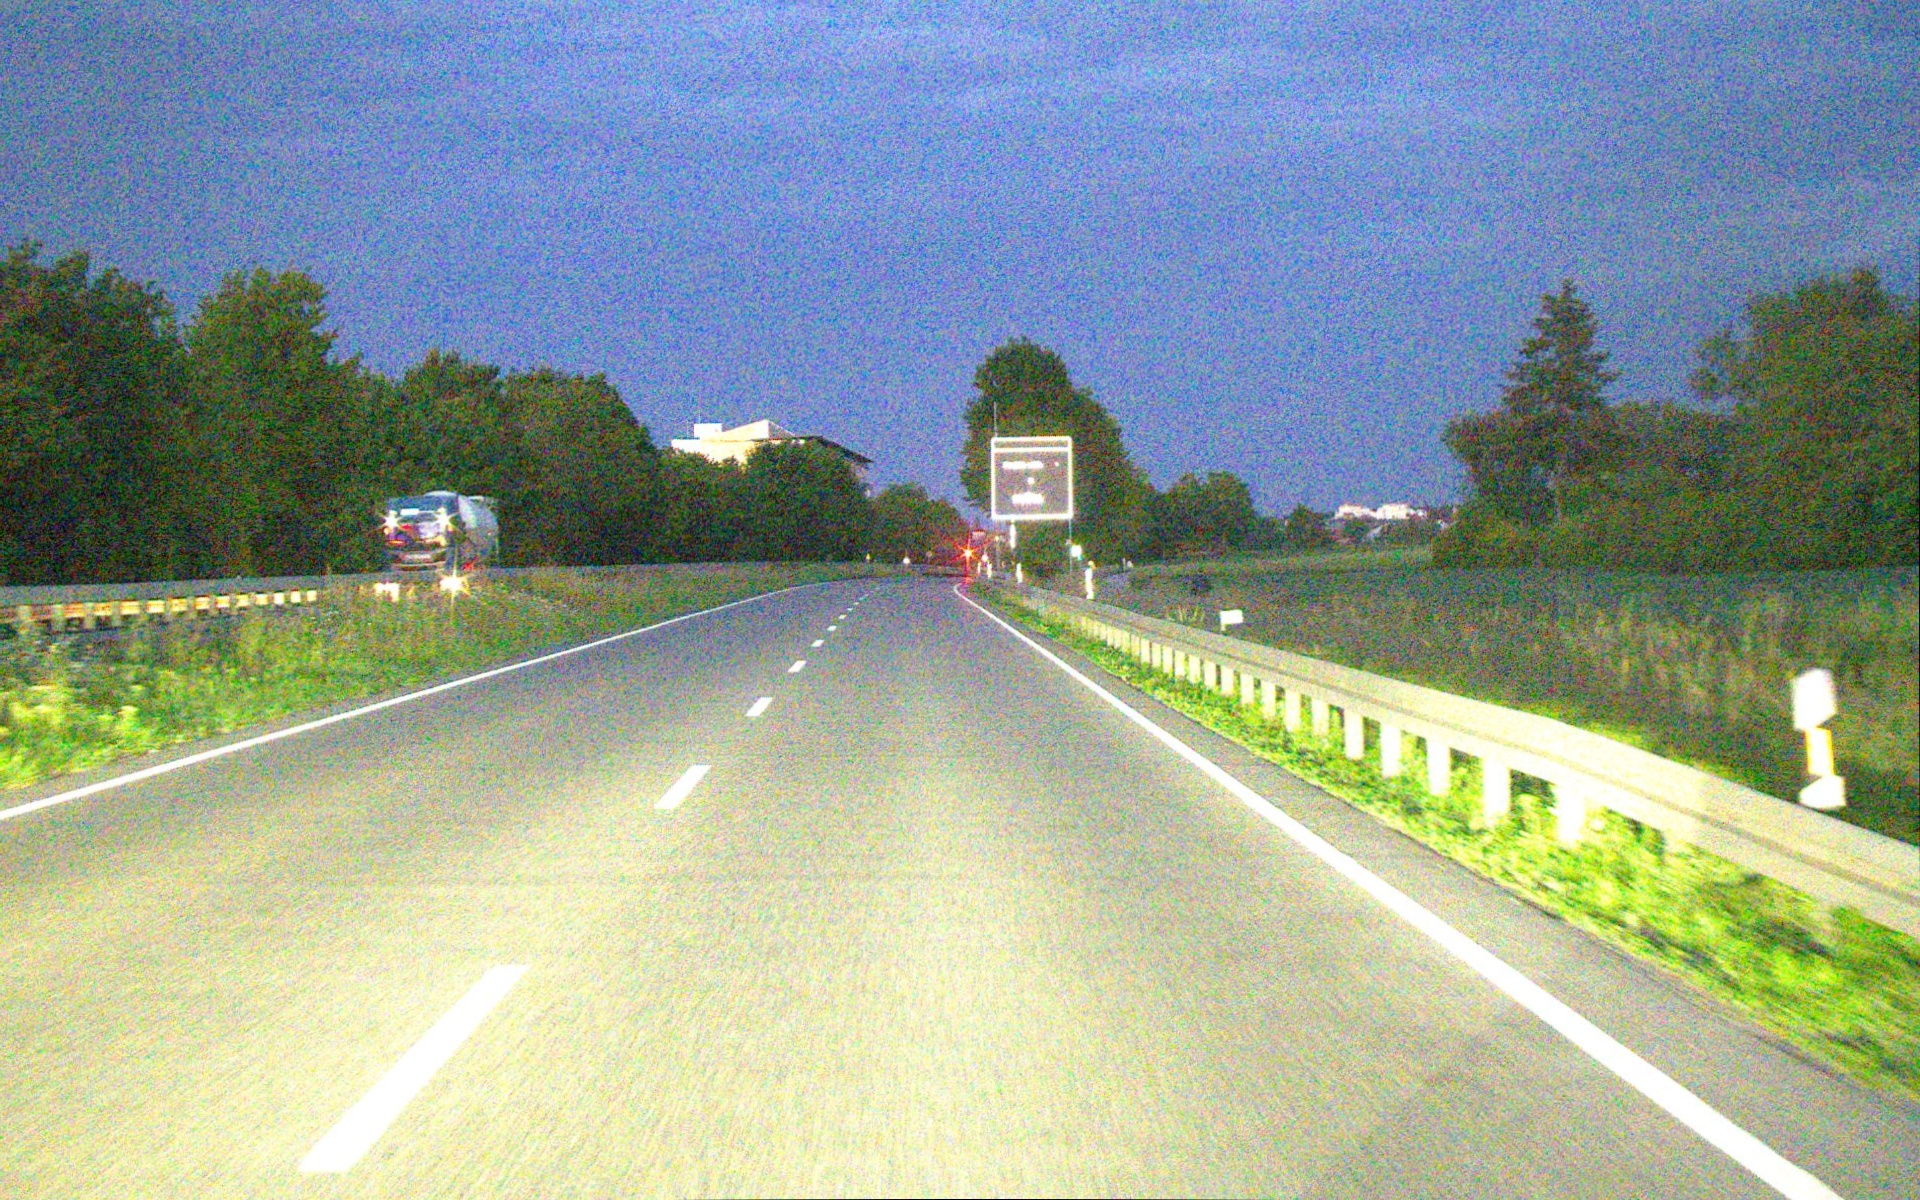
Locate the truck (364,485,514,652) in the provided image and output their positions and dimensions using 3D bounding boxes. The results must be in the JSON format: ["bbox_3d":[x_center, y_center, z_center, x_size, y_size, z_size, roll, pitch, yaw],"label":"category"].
[{"bbox_3d":[-17.613,-1.153,117.087,3.202,5.237,12.611,-3,1,-1],"label":"truck"}]

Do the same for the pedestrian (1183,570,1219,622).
[{"bbox_3d":[7.778,-0.134,111.177,1.062,1.637,1.118,1,0,0],"label":"pedestrian"}]
